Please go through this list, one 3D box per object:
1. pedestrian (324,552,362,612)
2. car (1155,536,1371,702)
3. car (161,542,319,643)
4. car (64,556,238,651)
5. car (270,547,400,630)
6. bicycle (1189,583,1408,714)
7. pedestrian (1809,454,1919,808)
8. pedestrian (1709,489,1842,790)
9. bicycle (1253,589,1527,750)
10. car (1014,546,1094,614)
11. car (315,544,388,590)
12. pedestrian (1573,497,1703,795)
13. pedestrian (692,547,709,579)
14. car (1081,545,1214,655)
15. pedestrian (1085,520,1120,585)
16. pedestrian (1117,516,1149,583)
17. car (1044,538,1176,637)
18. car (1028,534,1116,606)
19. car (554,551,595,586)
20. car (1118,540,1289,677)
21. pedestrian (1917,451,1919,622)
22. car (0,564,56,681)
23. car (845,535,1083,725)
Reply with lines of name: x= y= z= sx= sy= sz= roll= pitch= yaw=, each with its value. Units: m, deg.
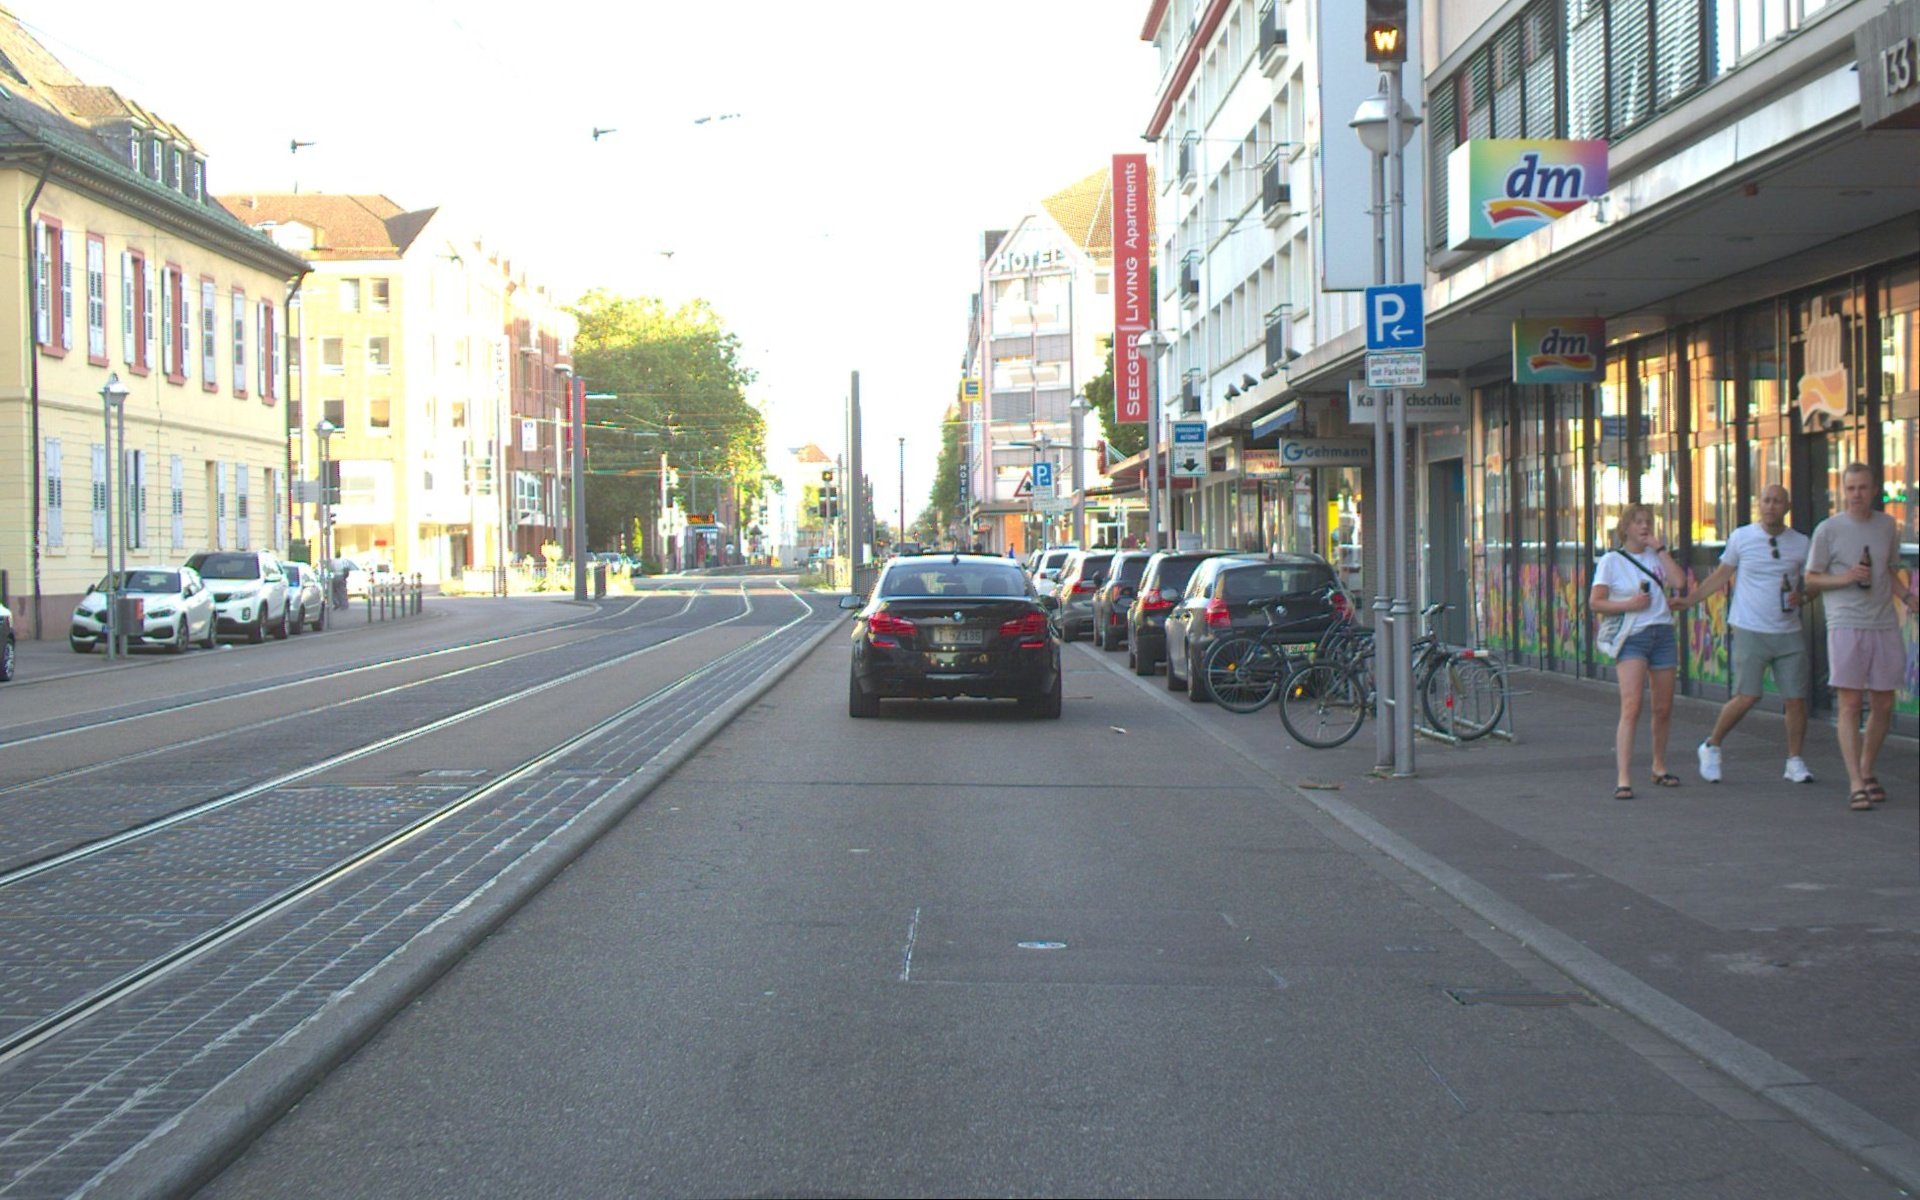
pedestrian: x=-16.428 y=-0.484 z=91.522 sx=0.951 sy=1.579 sz=0.733 roll=-1 pitch=1 yaw=-7
car: x=2.995 y=0.145 z=34.763 sx=1.744 sy=1.507 sz=4.258 roll=-2 pitch=1 yaw=0
car: x=-13.554 y=-0.158 z=64.967 sx=1.812 sy=1.779 sz=4.497 roll=2 pitch=1 yaw=3
car: x=-13.793 y=0.031 z=58.820 sx=1.812 sy=1.507 sz=4.432 roll=-1 pitch=1 yaw=1
car: x=-12.848 y=-0.254 z=70.888 sx=1.812 sy=1.612 sz=4.215 roll=-1 pitch=1 yaw=1
bicycle: x=3.075 y=0.432 z=31.349 sx=1.885 sy=1.134 sz=0.676 roll=-1 pitch=1 yaw=-3
pedestrian: x=4.914 y=0.164 z=18.686 sx=0.455 sy=1.892 sz=0.421 roll=-1 pitch=1 yaw=-1
pedestrian: x=4.839 y=0.225 z=20.422 sx=0.608 sy=1.747 sz=0.605 roll=-1 pitch=1 yaw=-1
bicycle: x=3.188 y=0.510 z=25.602 sx=1.885 sy=1.073 sz=0.676 roll=-3 pitch=1 yaw=-3
car: x=2.236 y=-0.502 z=82.772 sx=1.735 sy=1.507 sz=4.686 roll=-2 pitch=1 yaw=0
car: x=-21.117 y=-1.159 z=119.387 sx=1.806 sy=1.507 sz=4.035 roll=-1 pitch=1 yaw=0
pedestrian: x=4.001 y=0.265 z=20.318 sx=0.604 sy=1.721 sz=0.646 roll=-1 pitch=1 yaw=-1
pedestrian: x=-16.361 y=-2.310 z=216.879 sx=0.988 sy=2.007 sz=0.726 roll=1 pitch=0 yaw=-2
car: x=2.750 y=-0.034 z=51.139 sx=1.685 sy=1.507 sz=4.035 roll=-2 pitch=1 yaw=0
pedestrian: x=3.795 y=-1.269 z=91.763 sx=0.827 sy=1.712 sz=0.843 roll=-2 pitch=1 yaw=0
pedestrian: x=4.551 y=-1.330 z=90.473 sx=0.728 sy=1.735 sz=0.863 roll=-2 pitch=1 yaw=0
car: x=2.439 y=-0.236 z=56.874 sx=1.790 sy=1.507 sz=4.712 roll=-2 pitch=1 yaw=-2
car: x=2.487 y=-0.683 z=77.383 sx=1.785 sy=1.507 sz=4.052 roll=-2 pitch=1 yaw=0
car: x=-21.829 y=-1.795 z=194.628 sx=1.993 sy=1.895 sz=4.812 roll=-1 pitch=1 yaw=-3
car: x=2.901 y=0.066 z=41.748 sx=1.720 sy=1.507 sz=4.167 roll=-2 pitch=1 yaw=0
pedestrian: x=5.455 y=0.136 z=18.509 sx=0.451 sy=1.892 sz=0.421 roll=-1 pitch=1 yaw=-1
car: x=-13.326 y=0.309 z=45.310 sx=1.685 sy=1.507 sz=4.215 roll=-1 pitch=1 yaw=0
car: x=0.012 y=0.225 z=31.335 sx=1.993 sy=1.579 sz=4.000 roll=-1 pitch=1 yaw=-1
